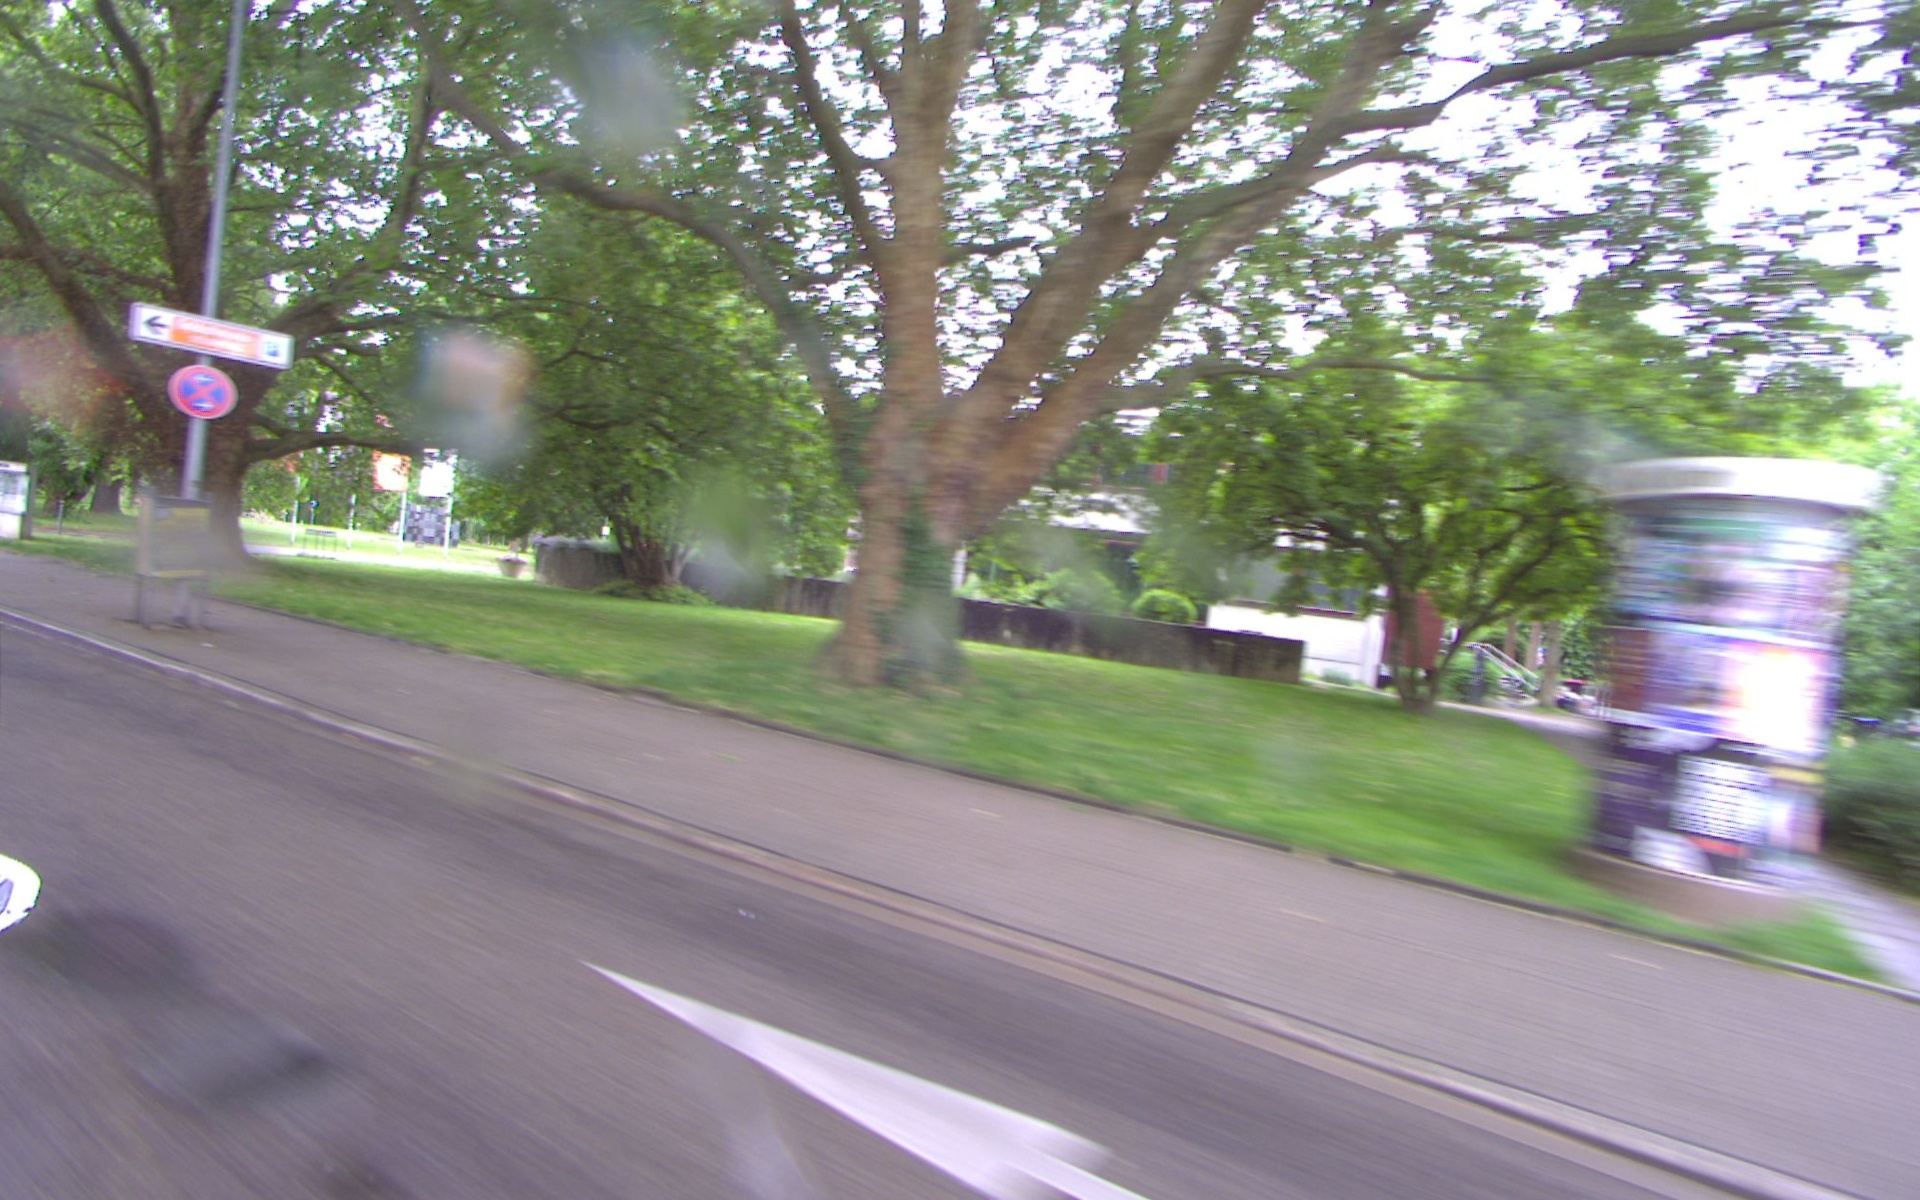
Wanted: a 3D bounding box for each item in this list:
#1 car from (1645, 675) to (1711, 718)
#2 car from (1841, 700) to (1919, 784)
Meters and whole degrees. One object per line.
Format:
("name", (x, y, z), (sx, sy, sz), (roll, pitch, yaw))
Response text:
("car", (33.965, 4.528, 47.687), (1.704, 1.590, 3.929), (7, 1, 25))
("car", (21.835, 3.277, 22.800), (1.705, 1.590, 3.928), (7, 1, 26))
